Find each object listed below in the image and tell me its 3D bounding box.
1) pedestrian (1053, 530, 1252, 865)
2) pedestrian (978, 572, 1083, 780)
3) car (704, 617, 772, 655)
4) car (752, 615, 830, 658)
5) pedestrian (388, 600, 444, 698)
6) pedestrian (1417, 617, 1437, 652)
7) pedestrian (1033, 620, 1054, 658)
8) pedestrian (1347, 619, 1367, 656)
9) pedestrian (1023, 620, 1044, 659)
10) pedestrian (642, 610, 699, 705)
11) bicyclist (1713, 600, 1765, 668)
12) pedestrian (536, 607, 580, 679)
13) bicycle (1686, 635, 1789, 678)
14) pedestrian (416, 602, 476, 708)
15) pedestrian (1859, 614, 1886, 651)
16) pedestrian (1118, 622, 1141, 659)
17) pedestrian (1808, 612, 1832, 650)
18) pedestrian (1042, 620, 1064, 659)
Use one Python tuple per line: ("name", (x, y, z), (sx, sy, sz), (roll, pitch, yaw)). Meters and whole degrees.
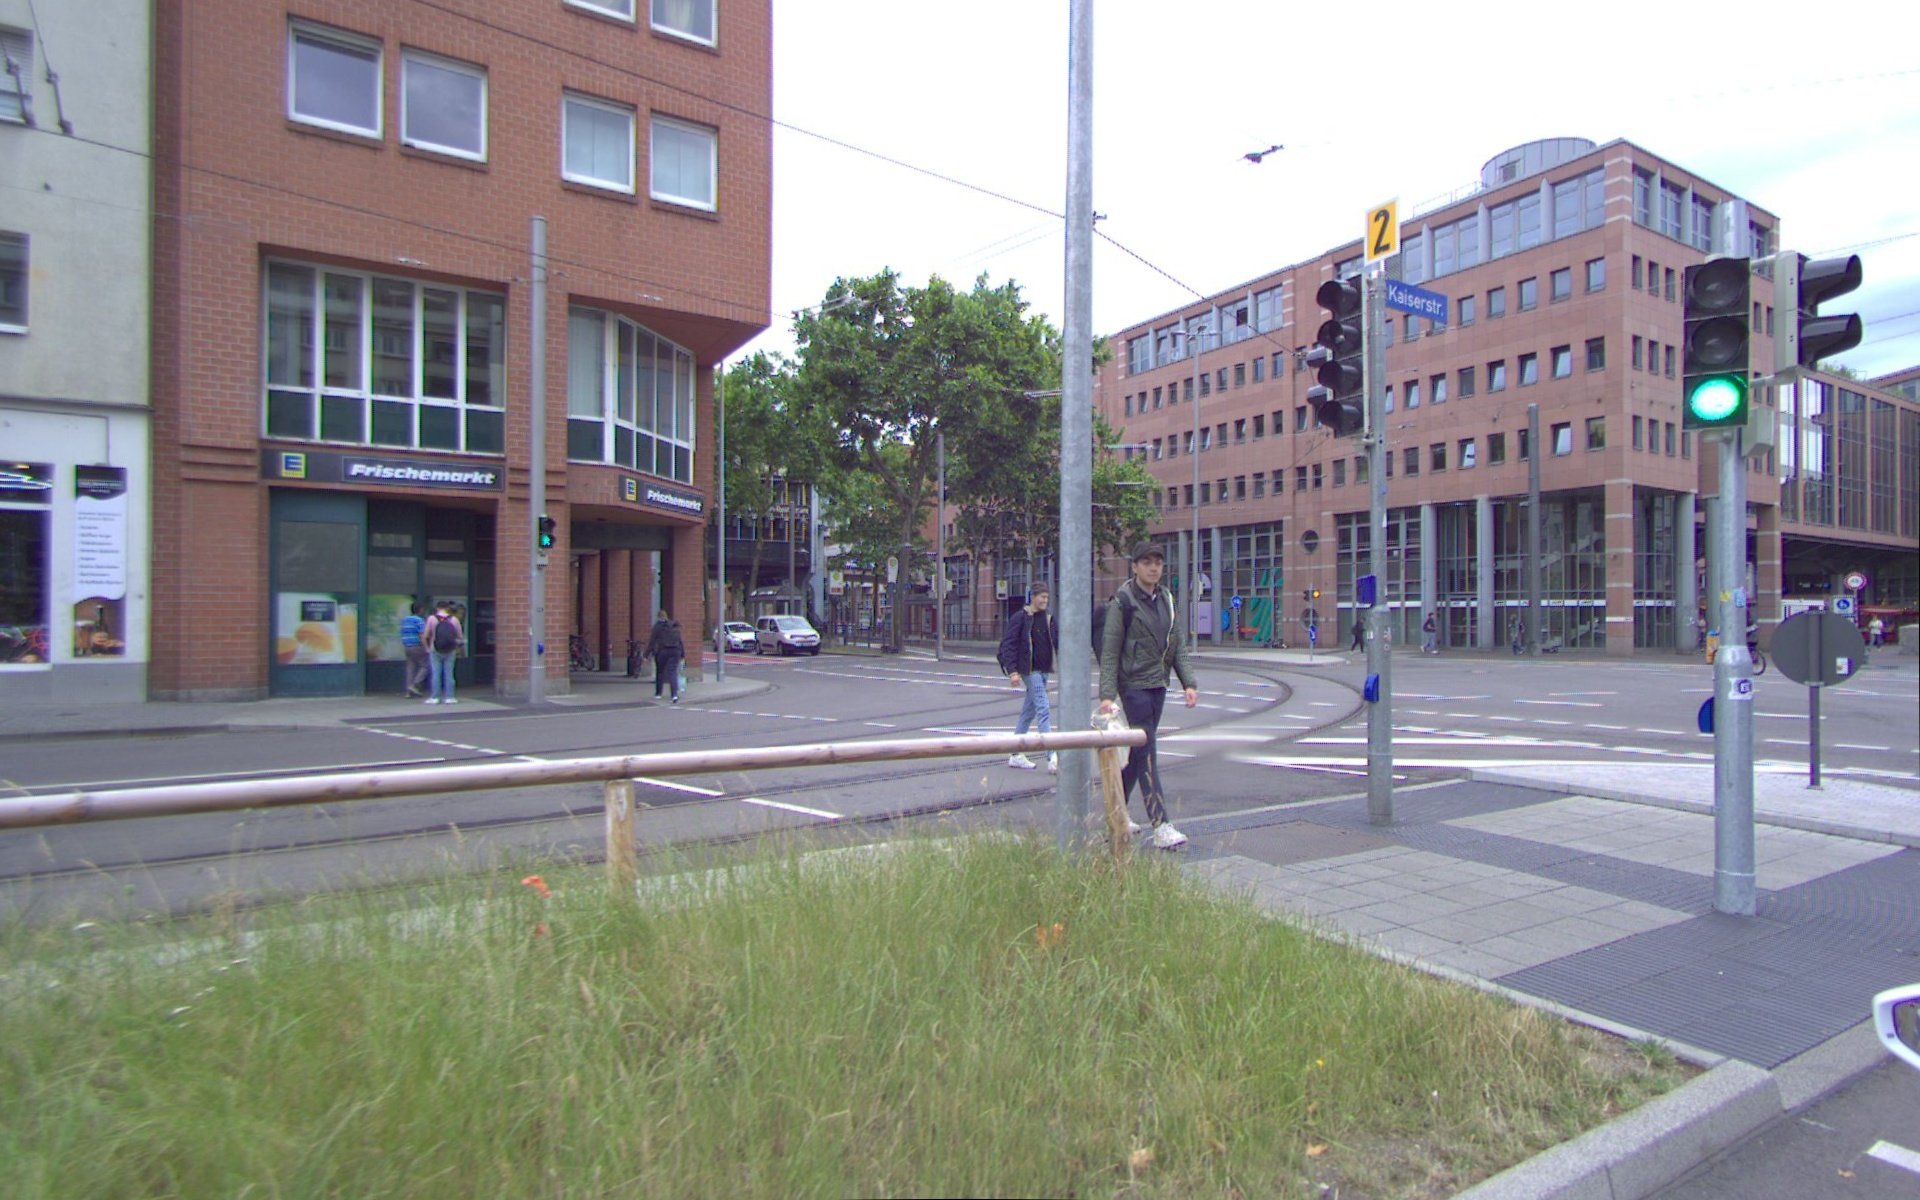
("pedestrian", (1.202, 0.565, 6.347), (0.791, 1.915, 0.891), (2, 0, -33))
("pedestrian", (0.683, 0.710, 9.733), (0.791, 1.914, 0.606), (2, -1, -33))
("car", (-11.156, 1.781, 50.381), (1.910, 1.817, 3.960), (1, -2, -36))
("car", (-7.591, 1.616, 45.009), (1.910, 1.817, 3.960), (1, -2, -36))
("pedestrian", (-9.690, 0.866, 17.884), (0.717, 1.709, 0.654), (3, -2, -40))
("pedestrian", (21.222, 1.575, 45.668), (0.731, 1.581, 0.573), (1, -1, 33))
("pedestrian", (3.594, 1.678, 43.156), (0.624, 1.633, 0.568), (2, -1, -39))
("pedestrian", (18.598, 1.759, 47.056), (0.731, 1.710, 0.573), (1, -1, 33))
("pedestrian", (3.105, 1.661, 42.271), (0.624, 1.633, 0.568), (2, -1, -39))
("pedestrian", (-5.412, 1.063, 18.755), (0.791, 1.706, 0.738), (2, 0, -35))
("bicyclist", (21.618, 0.929, 27.889), (0.820, 1.836, 0.878), (1, 0, 11))
("pedestrian", (-9.758, 1.032, 24.389), (0.791, 1.706, 0.738), (2, 0, -35))
("bicycle", (21.628, 1.540, 28.050), (0.886, 1.058, 3.280), (0, -1, 11))
("pedestrian", (-8.628, 0.910, 16.854), (0.791, 1.706, 0.565), (2, 0, -36))
("pedestrian", (46.744, 1.667, 51.457), (0.721, 1.866, 0.701), (1, 0, -12))
("pedestrian", (7.201, 1.719, 42.686), (0.734, 1.581, 0.570), (2, -1, -26))
("pedestrian", (42.550, 1.510, 49.703), (0.726, 1.866, 0.697), (1, 0, -30))
("pedestrian", (3.819, 1.626, 41.289), (0.624, 1.595, 0.568), (2, -1, -39))
